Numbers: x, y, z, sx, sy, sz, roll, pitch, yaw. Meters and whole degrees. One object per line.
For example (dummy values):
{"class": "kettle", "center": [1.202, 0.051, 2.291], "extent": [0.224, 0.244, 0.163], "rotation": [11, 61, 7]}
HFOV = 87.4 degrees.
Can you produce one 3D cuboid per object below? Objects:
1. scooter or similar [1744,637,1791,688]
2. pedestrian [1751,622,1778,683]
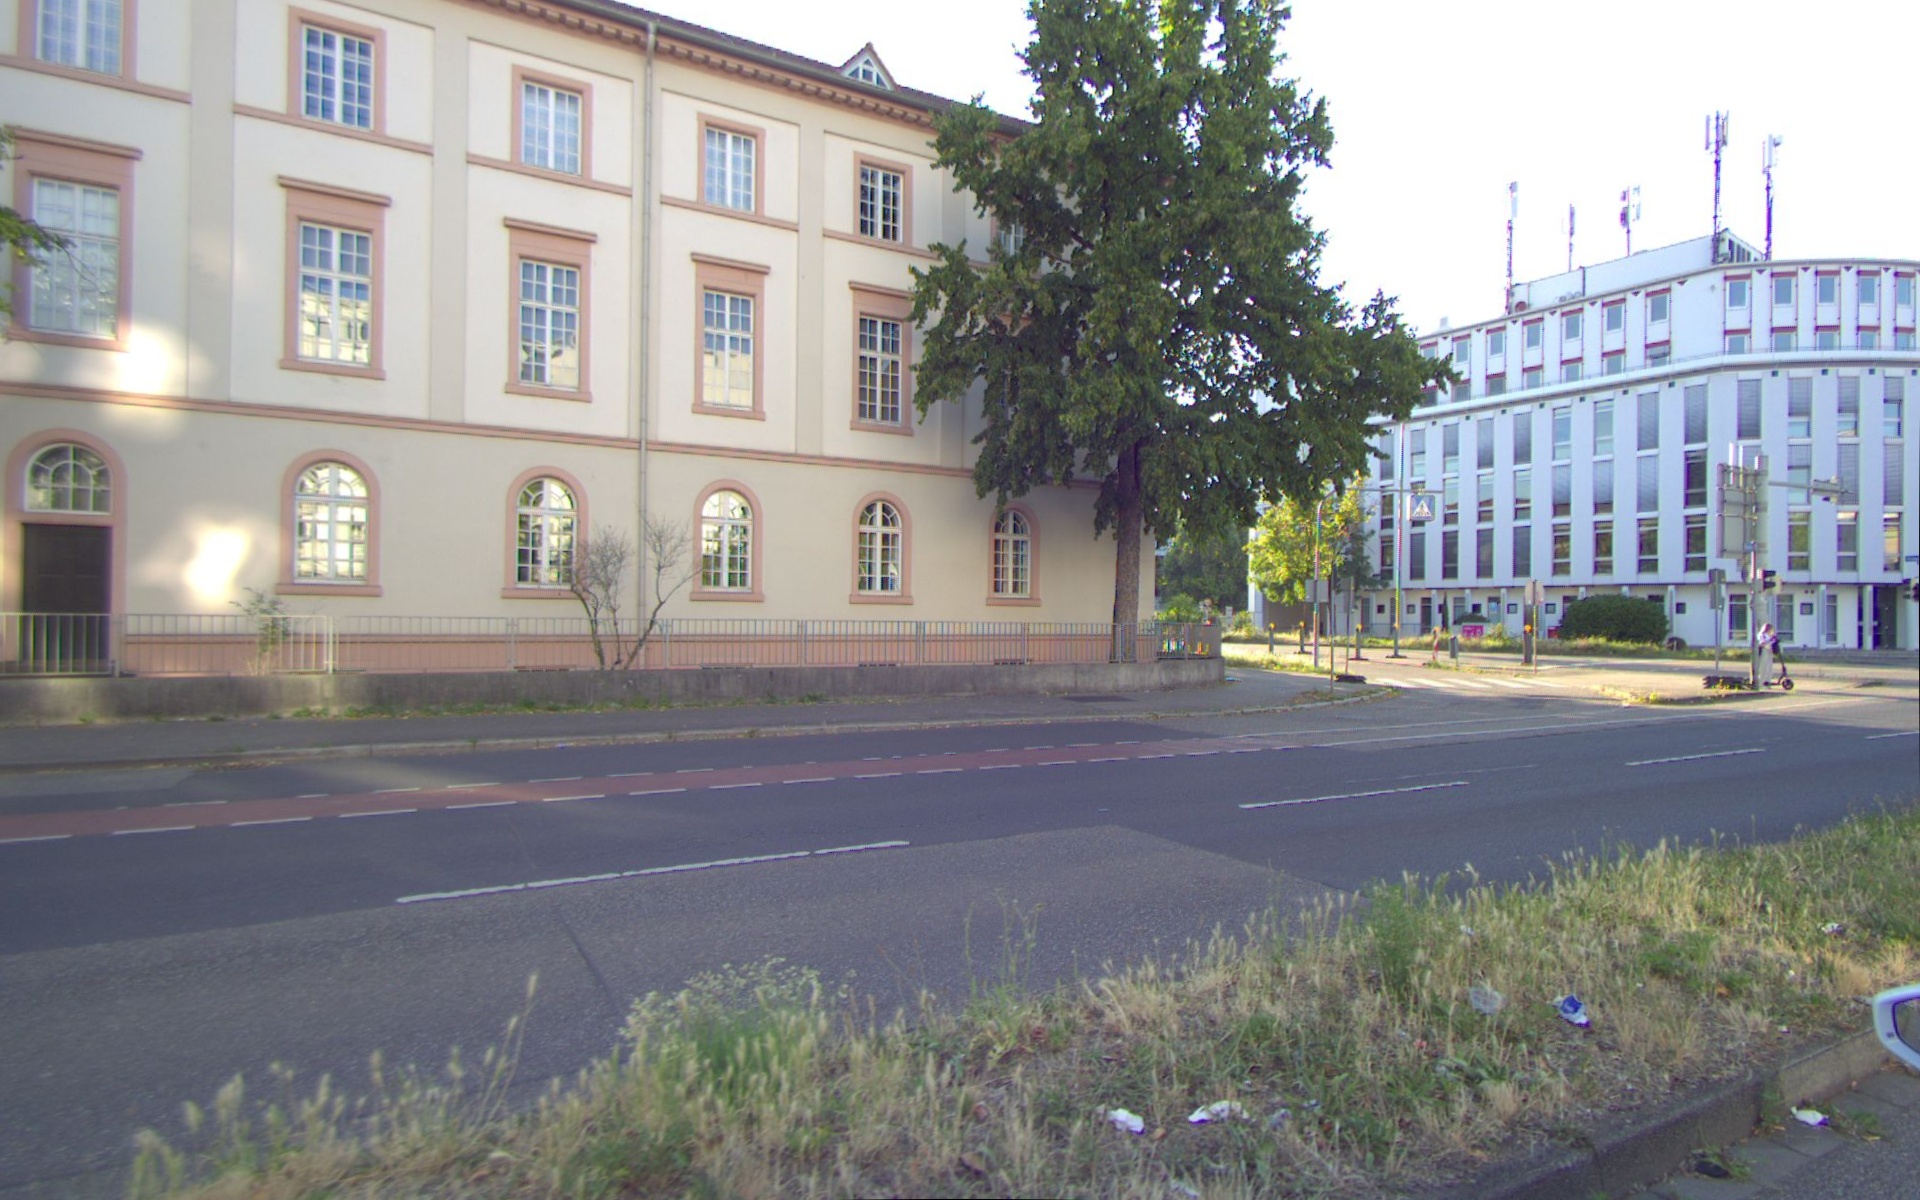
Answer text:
{"class": "scooter or similar", "center": [20.367, 1.571, 25.340], "extent": [0.368, 1.250, 0.885], "rotation": [1, -1, -40]}
{"class": "pedestrian", "center": [20.431, 1.336, 25.508], "extent": [0.332, 1.525, 0.470], "rotation": [1, -1, -41]}
